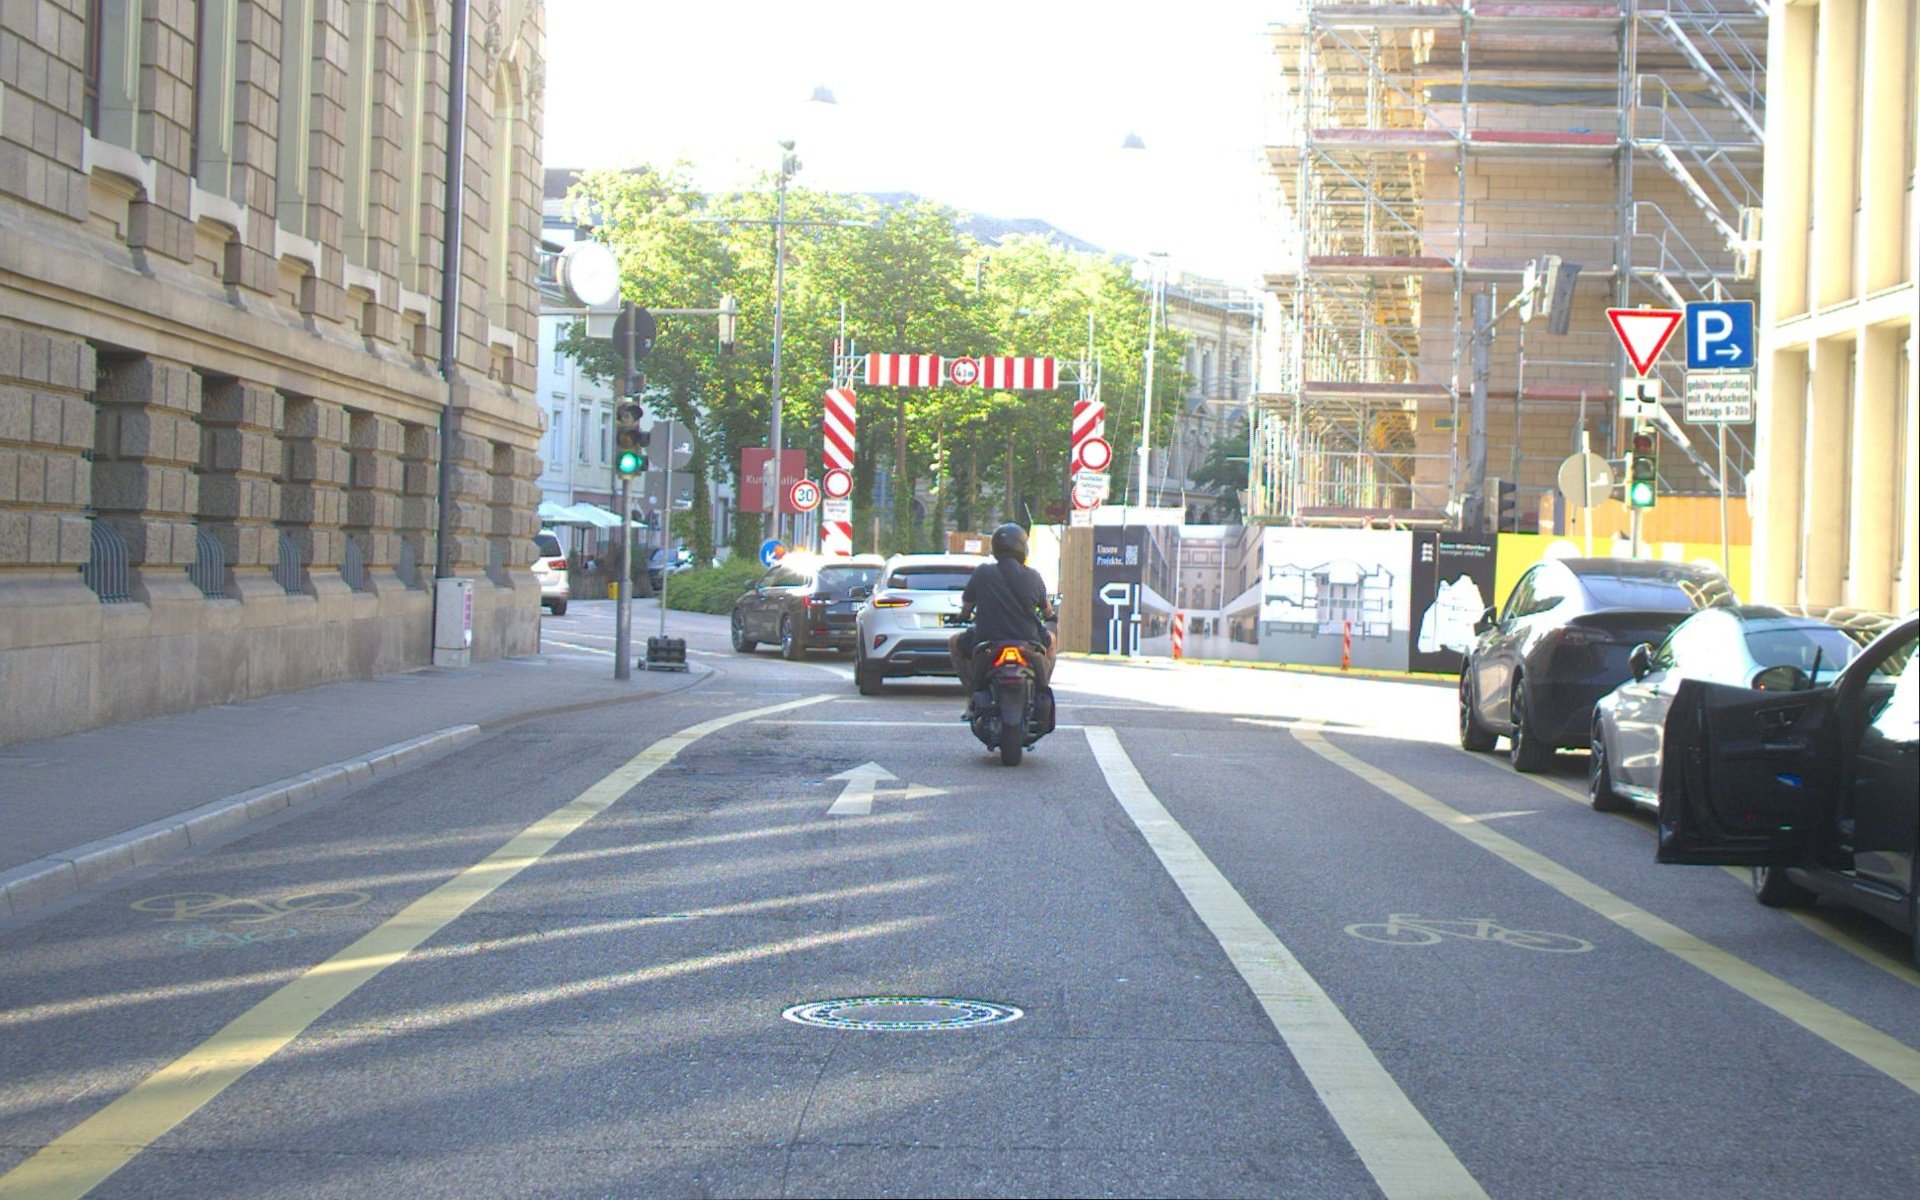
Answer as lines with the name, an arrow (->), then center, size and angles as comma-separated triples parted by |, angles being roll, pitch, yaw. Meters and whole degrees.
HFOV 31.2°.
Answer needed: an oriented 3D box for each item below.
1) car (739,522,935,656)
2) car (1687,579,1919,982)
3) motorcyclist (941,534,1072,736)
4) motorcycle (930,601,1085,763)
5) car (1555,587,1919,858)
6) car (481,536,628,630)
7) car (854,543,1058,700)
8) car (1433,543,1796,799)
car -> -1.814, -0.155, 49.389 | 1.830, 1.831, 4.001 | 1, 0, -17
car -> 4.485, 0.707, 14.216 | 1.824, 1.496, 4.737 | 3, 0, -1
motorcyclist -> 0.331, 0.250, 24.707 | 0.867, 1.422, 0.456 | 1, 0, -7
motorcycle -> 0.320, 0.570, 24.703 | 0.872, 1.105, 1.840 | 1, 0, -7
car -> 4.839, 0.679, 20.764 | 1.825, 1.394, 4.479 | 3, 0, 2
car -> -8.056, -0.366, 68.027 | 1.993, 1.659, 4.360 | -2, 3, -18
car -> 0.014, 0.198, 37.234 | 1.823, 1.536, 4.263 | 2, 1, 5
car -> 5.002, 0.469, 26.918 | 1.824, 1.693, 4.667 | 3, 2, -1
